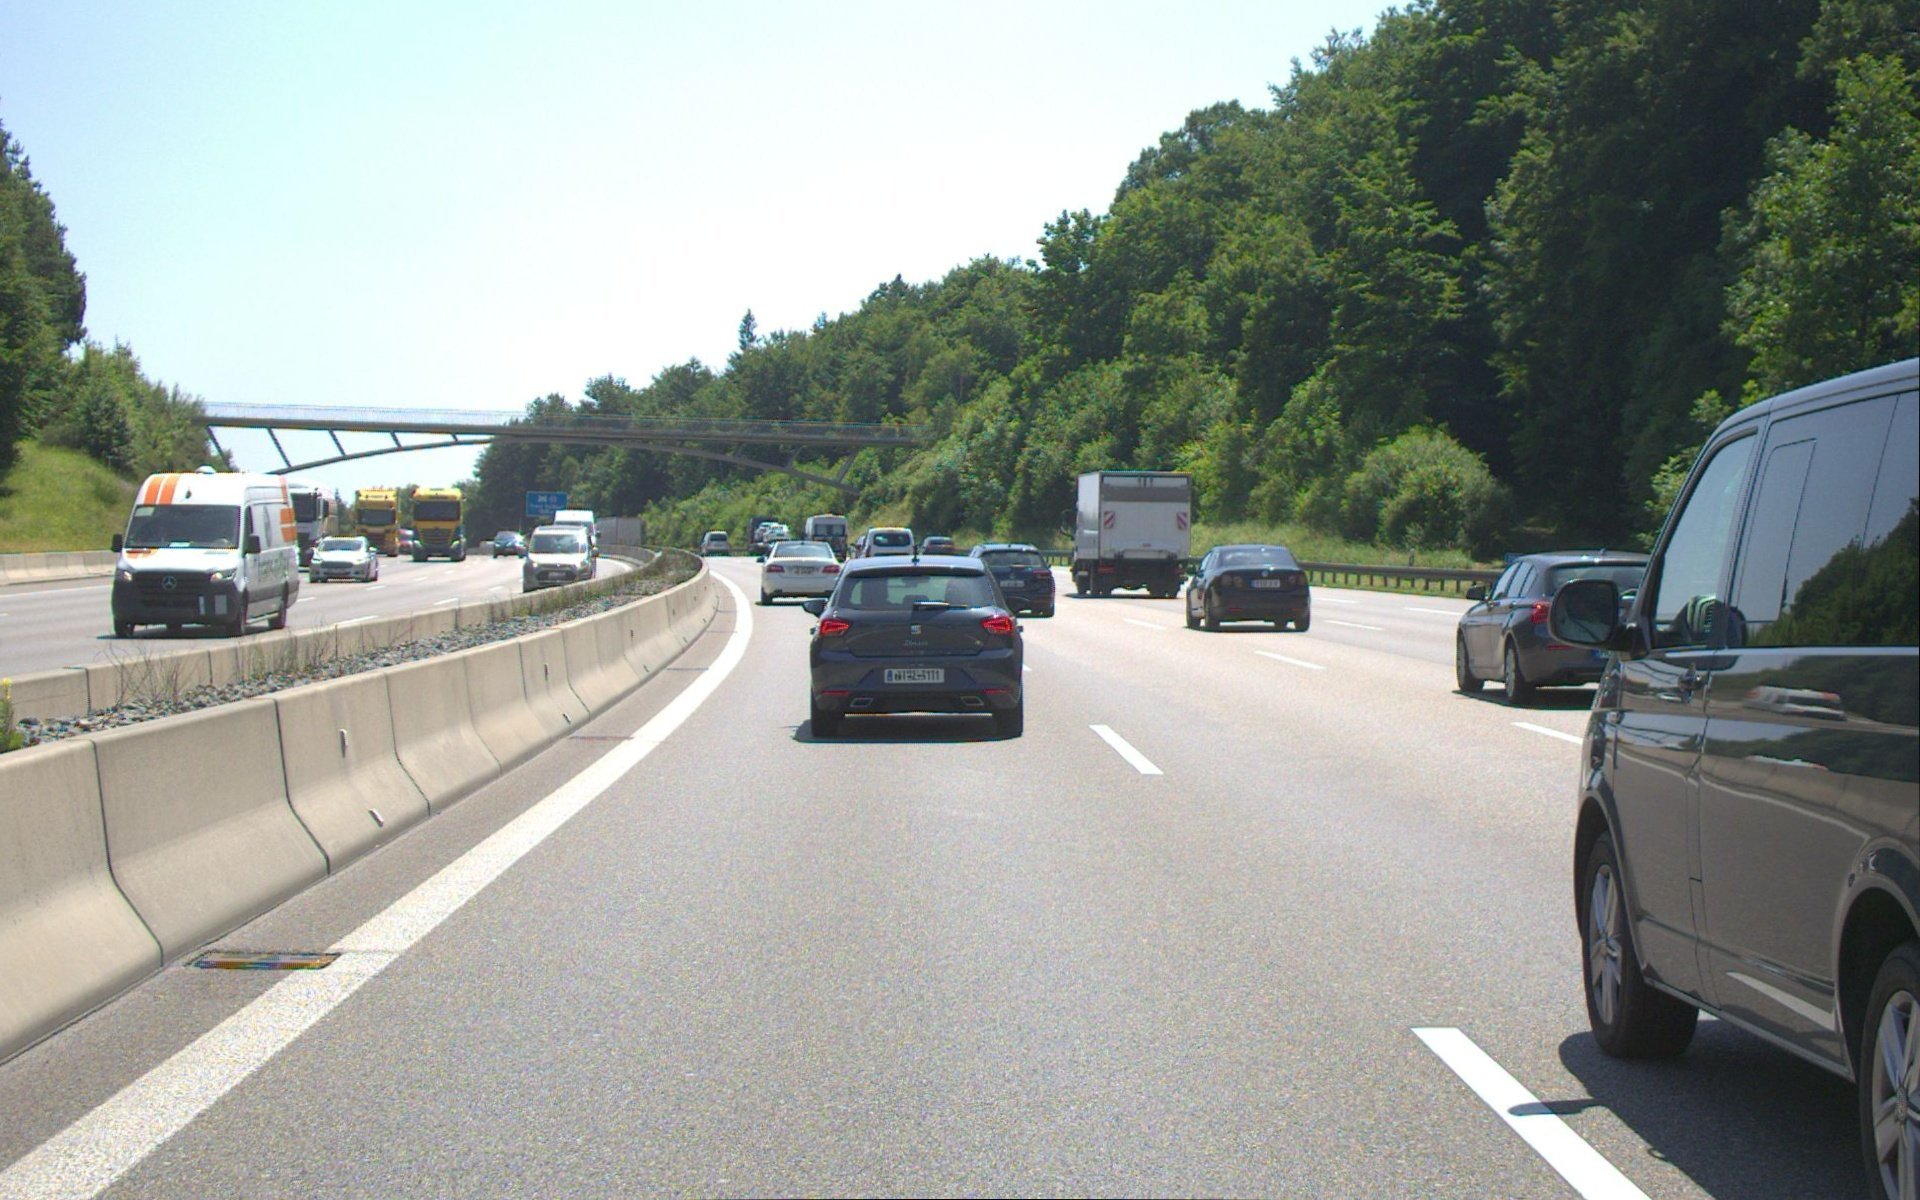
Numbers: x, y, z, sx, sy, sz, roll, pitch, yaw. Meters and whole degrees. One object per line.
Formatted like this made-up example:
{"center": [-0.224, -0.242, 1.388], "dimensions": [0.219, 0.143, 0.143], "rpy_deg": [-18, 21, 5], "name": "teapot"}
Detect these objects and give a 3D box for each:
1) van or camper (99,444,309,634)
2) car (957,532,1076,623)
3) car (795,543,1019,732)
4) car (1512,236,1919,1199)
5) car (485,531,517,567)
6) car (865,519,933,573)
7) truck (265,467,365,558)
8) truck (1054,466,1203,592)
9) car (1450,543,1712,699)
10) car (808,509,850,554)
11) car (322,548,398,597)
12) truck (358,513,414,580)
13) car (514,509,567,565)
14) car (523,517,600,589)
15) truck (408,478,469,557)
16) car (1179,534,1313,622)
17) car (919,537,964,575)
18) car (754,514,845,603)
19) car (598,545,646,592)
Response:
{"center": [-12.228, -0.896, 56.148], "dimensions": [1.993, 2.790, 7.414], "rpy_deg": [1, -1, -2], "name": "van or camper"}
{"center": [1.087, -0.412, 68.062], "dimensions": [1.993, 1.722, 4.149], "rpy_deg": [0, -1, -4], "name": "car"}
{"center": [-0.425, 0.260, 28.473], "dimensions": [1.708, 1.428, 4.000], "rpy_deg": [1, 1, -1], "name": "car"}
{"center": [2.820, 0.359, 8.642], "dimensions": [1.963, 2.027, 5.083], "rpy_deg": [1, -1, -1], "name": "car"}
{"center": [-27.641, -3.049, 207.139], "dimensions": [1.643, 2.007, 4.000], "rpy_deg": [1, -1, -4], "name": "car"}
{"center": [-2.064, -1.829, 115.682], "dimensions": [2.103, 1.738, 4.688], "rpy_deg": [0, 1, -3], "name": "car"}
{"center": [-25.941, -3.463, 138.723], "dimensions": [2.609, 3.454, 9.883], "rpy_deg": [1, 1, -3], "name": "truck"}
{"center": [4.351, -1.860, 90.367], "dimensions": [2.985, 3.156, 7.576], "rpy_deg": [0, 1, -4], "name": "truck"}
{"center": [5.882, 0.158, 33.014], "dimensions": [1.702, 1.391, 4.154], "rpy_deg": [0, 1, -1], "name": "car"}
{"center": [-7.219, -3.764, 189.235], "dimensions": [2.265, 2.363, 4.702], "rpy_deg": [0, 0, -2], "name": "car"}
{"center": [-19.139, -0.897, 109.823], "dimensions": [1.763, 1.477, 4.494], "rpy_deg": [1, 1, -2], "name": "car"}
{"center": [-34.889, -3.269, 209.090], "dimensions": [2.750, 4.003, 6.753], "rpy_deg": [0, 1, -5], "name": "truck"}
{"center": [-18.759, -2.835, 154.009], "dimensions": [2.154, 2.481, 4.703], "rpy_deg": [0, 1, -5], "name": "car"}
{"center": [-10.657, -1.273, 92.146], "dimensions": [1.818, 1.865, 4.589], "rpy_deg": [0, 1, -4], "name": "car"}
{"center": [-26.737, -4.203, 176.450], "dimensions": [2.530, 3.926, 6.802], "rpy_deg": [1, 1, -4], "name": "truck"}
{"center": [4.813, -0.407, 58.394], "dimensions": [1.665, 1.403, 4.904], "rpy_deg": [0, 1, -2], "name": "car"}
{"center": [-0.965, -2.244, 176.853], "dimensions": [2.145, 1.851, 4.000], "rpy_deg": [1, 0, -2], "name": "car"}
{"center": [-3.731, -0.926, 79.487], "dimensions": [2.012, 1.839, 4.000], "rpy_deg": [1, -2, -4], "name": "car"}
{"center": [-15.658, -1.448, 159.409], "dimensions": [1.993, 2.007, 4.000], "rpy_deg": [1, -1, -3], "name": "car"}
